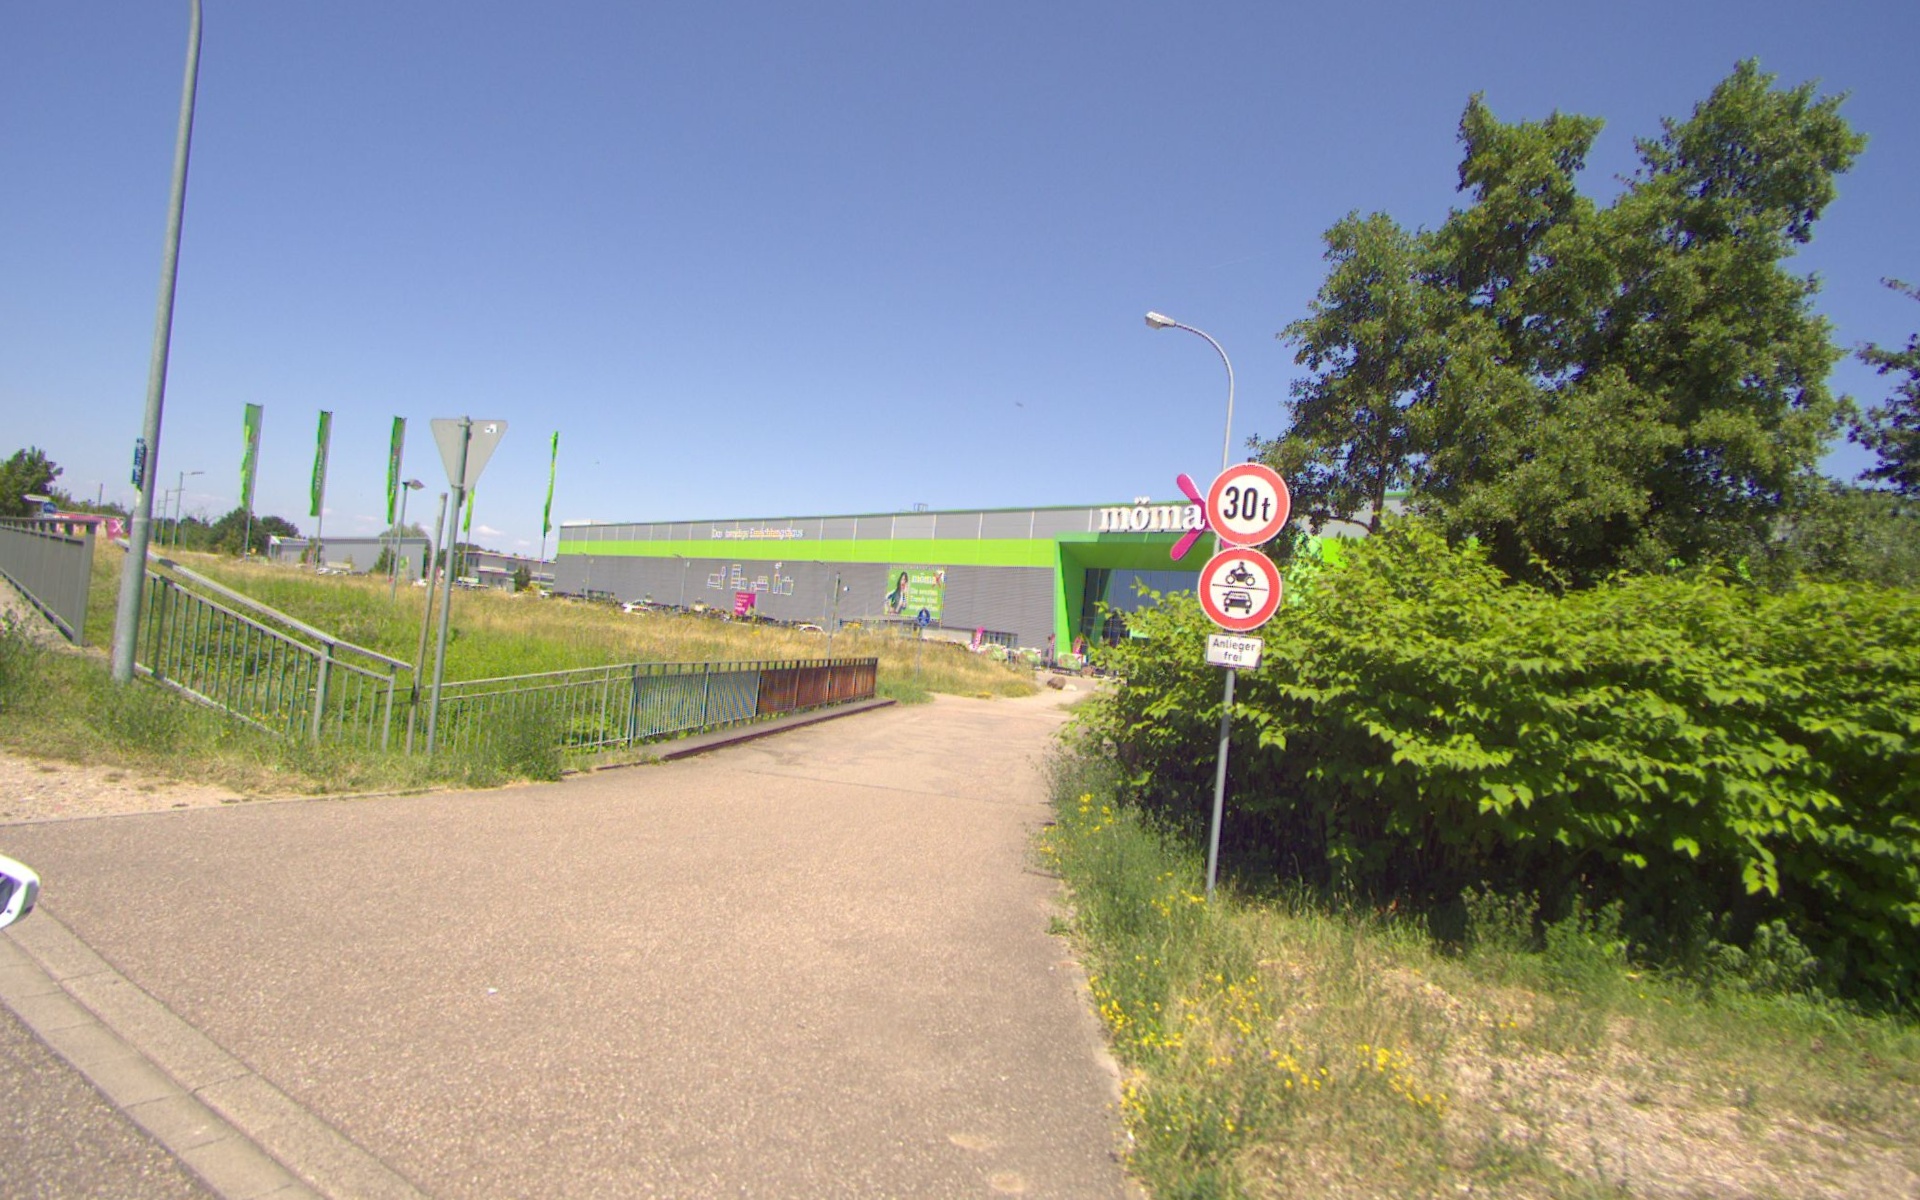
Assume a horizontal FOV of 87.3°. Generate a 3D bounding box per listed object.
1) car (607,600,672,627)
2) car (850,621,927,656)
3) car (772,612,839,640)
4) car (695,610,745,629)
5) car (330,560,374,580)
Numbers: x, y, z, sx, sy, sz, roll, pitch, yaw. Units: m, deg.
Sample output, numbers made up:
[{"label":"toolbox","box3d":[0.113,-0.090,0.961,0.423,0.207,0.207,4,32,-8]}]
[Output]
[{"label":"car","box3d":[-23.126,0.952,72.639,3.969,1.549,1.927,6,-2,-40]},{"label":"car","box3d":[-4.044,2.201,57.438,3.969,1.674,1.895,6,-2,-40]},{"label":"car","box3d":[-10.367,1.752,67.762,3.969,1.523,1.927,6,-2,-40]},{"label":"car","box3d":[-24.818,2.007,104.014,1.975,1.536,4.641,3,-3,44]},{"label":"car","box3d":[-64.893,-3.209,107.401,3.721,1.588,1.870,8,-2,-40]}]
